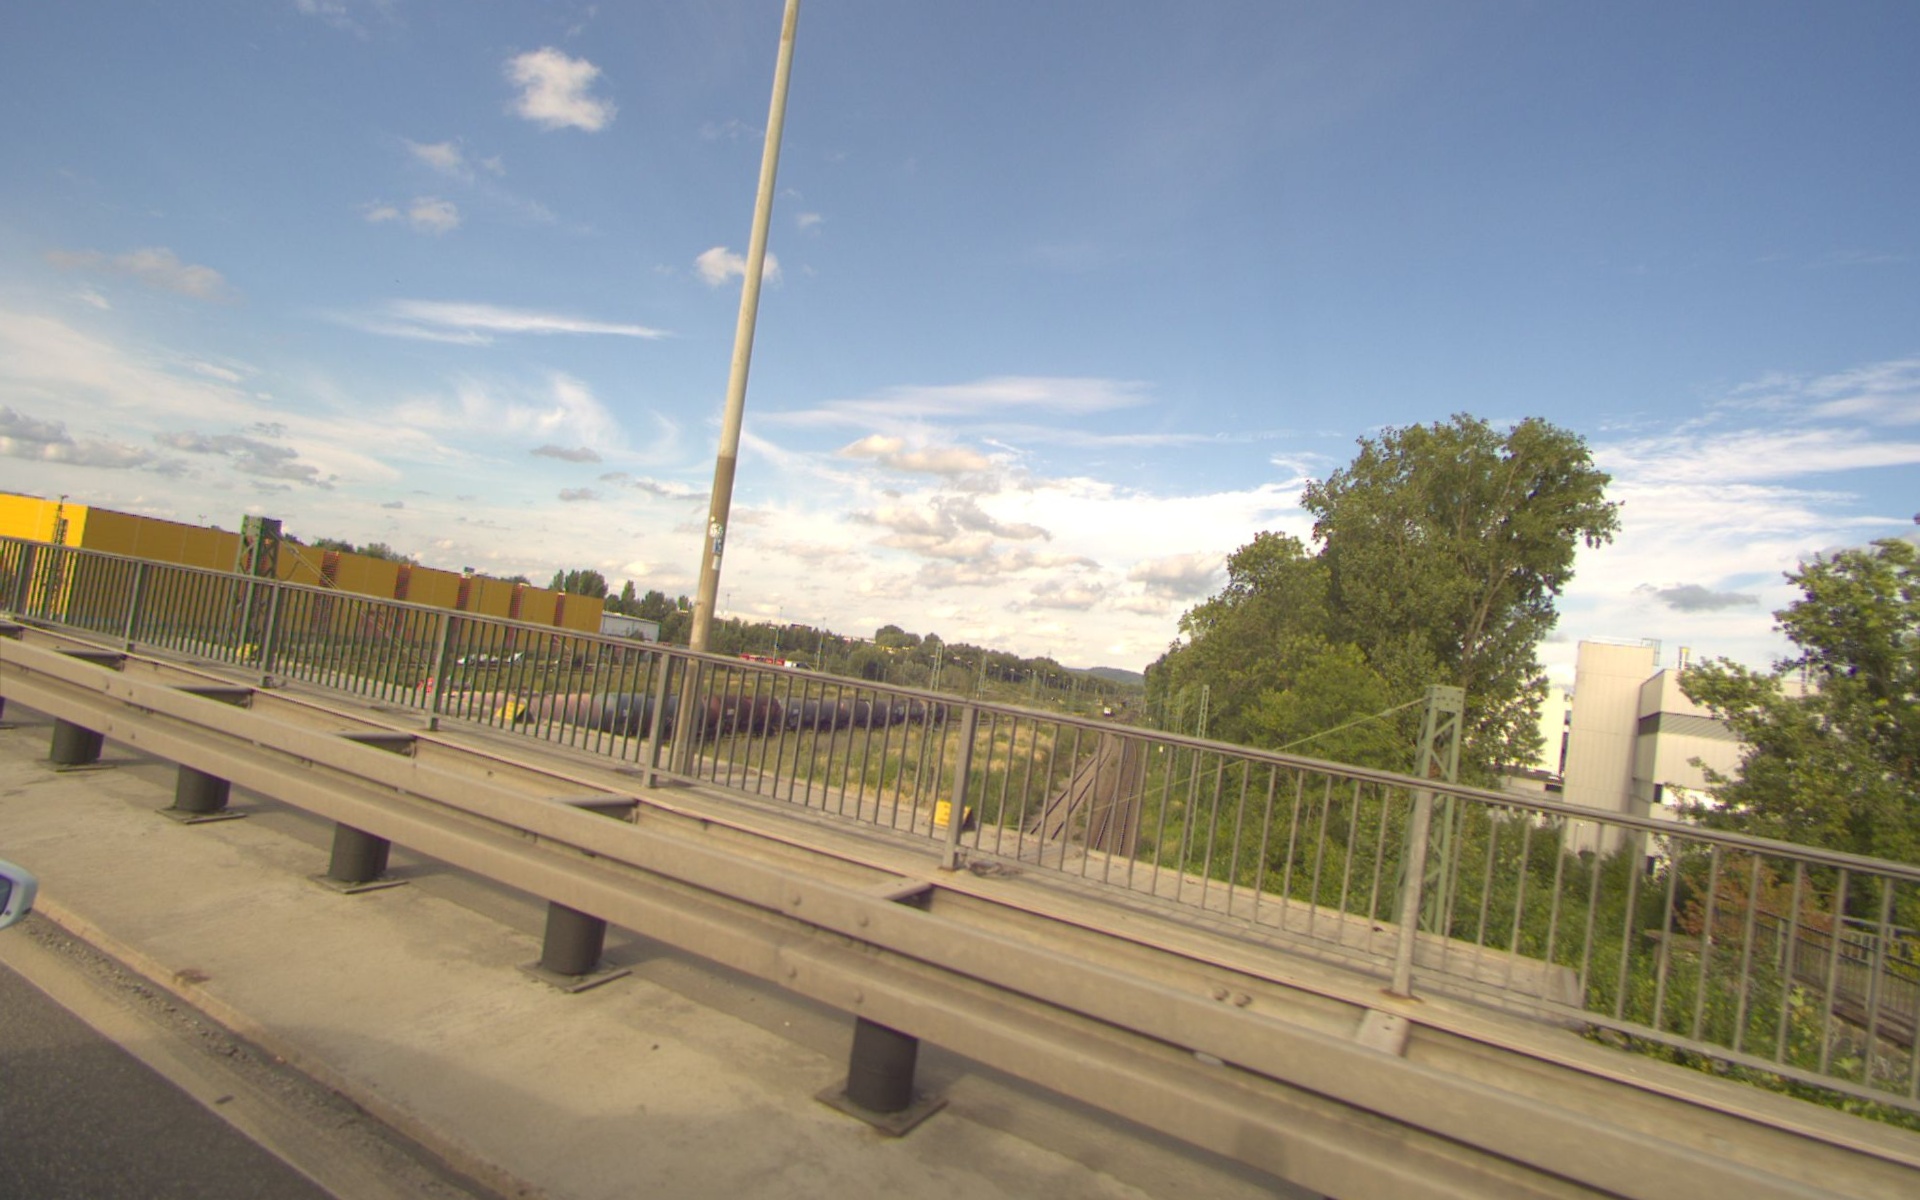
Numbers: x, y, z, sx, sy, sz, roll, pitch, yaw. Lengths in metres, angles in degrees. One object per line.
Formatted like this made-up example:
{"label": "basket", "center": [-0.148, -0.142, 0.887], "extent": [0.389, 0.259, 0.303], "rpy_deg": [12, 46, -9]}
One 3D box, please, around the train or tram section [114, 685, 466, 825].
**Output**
{"label": "train or tram section", "center": [-31.047, 6.907, 48.693], "extent": [3.037, 4.767, 16.770], "rpy_deg": [7, -2, 10]}

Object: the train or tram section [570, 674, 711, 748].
{"label": "train or tram section", "center": [-25.377, 8.694, 81.610], "extent": [3.037, 4.767, 16.770], "rpy_deg": [7, -2, 10]}

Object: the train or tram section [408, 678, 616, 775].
{"label": "train or tram section", "center": [-28.208, 7.775, 65.158], "extent": [3.037, 4.767, 16.770], "rpy_deg": [7, -2, 10]}
